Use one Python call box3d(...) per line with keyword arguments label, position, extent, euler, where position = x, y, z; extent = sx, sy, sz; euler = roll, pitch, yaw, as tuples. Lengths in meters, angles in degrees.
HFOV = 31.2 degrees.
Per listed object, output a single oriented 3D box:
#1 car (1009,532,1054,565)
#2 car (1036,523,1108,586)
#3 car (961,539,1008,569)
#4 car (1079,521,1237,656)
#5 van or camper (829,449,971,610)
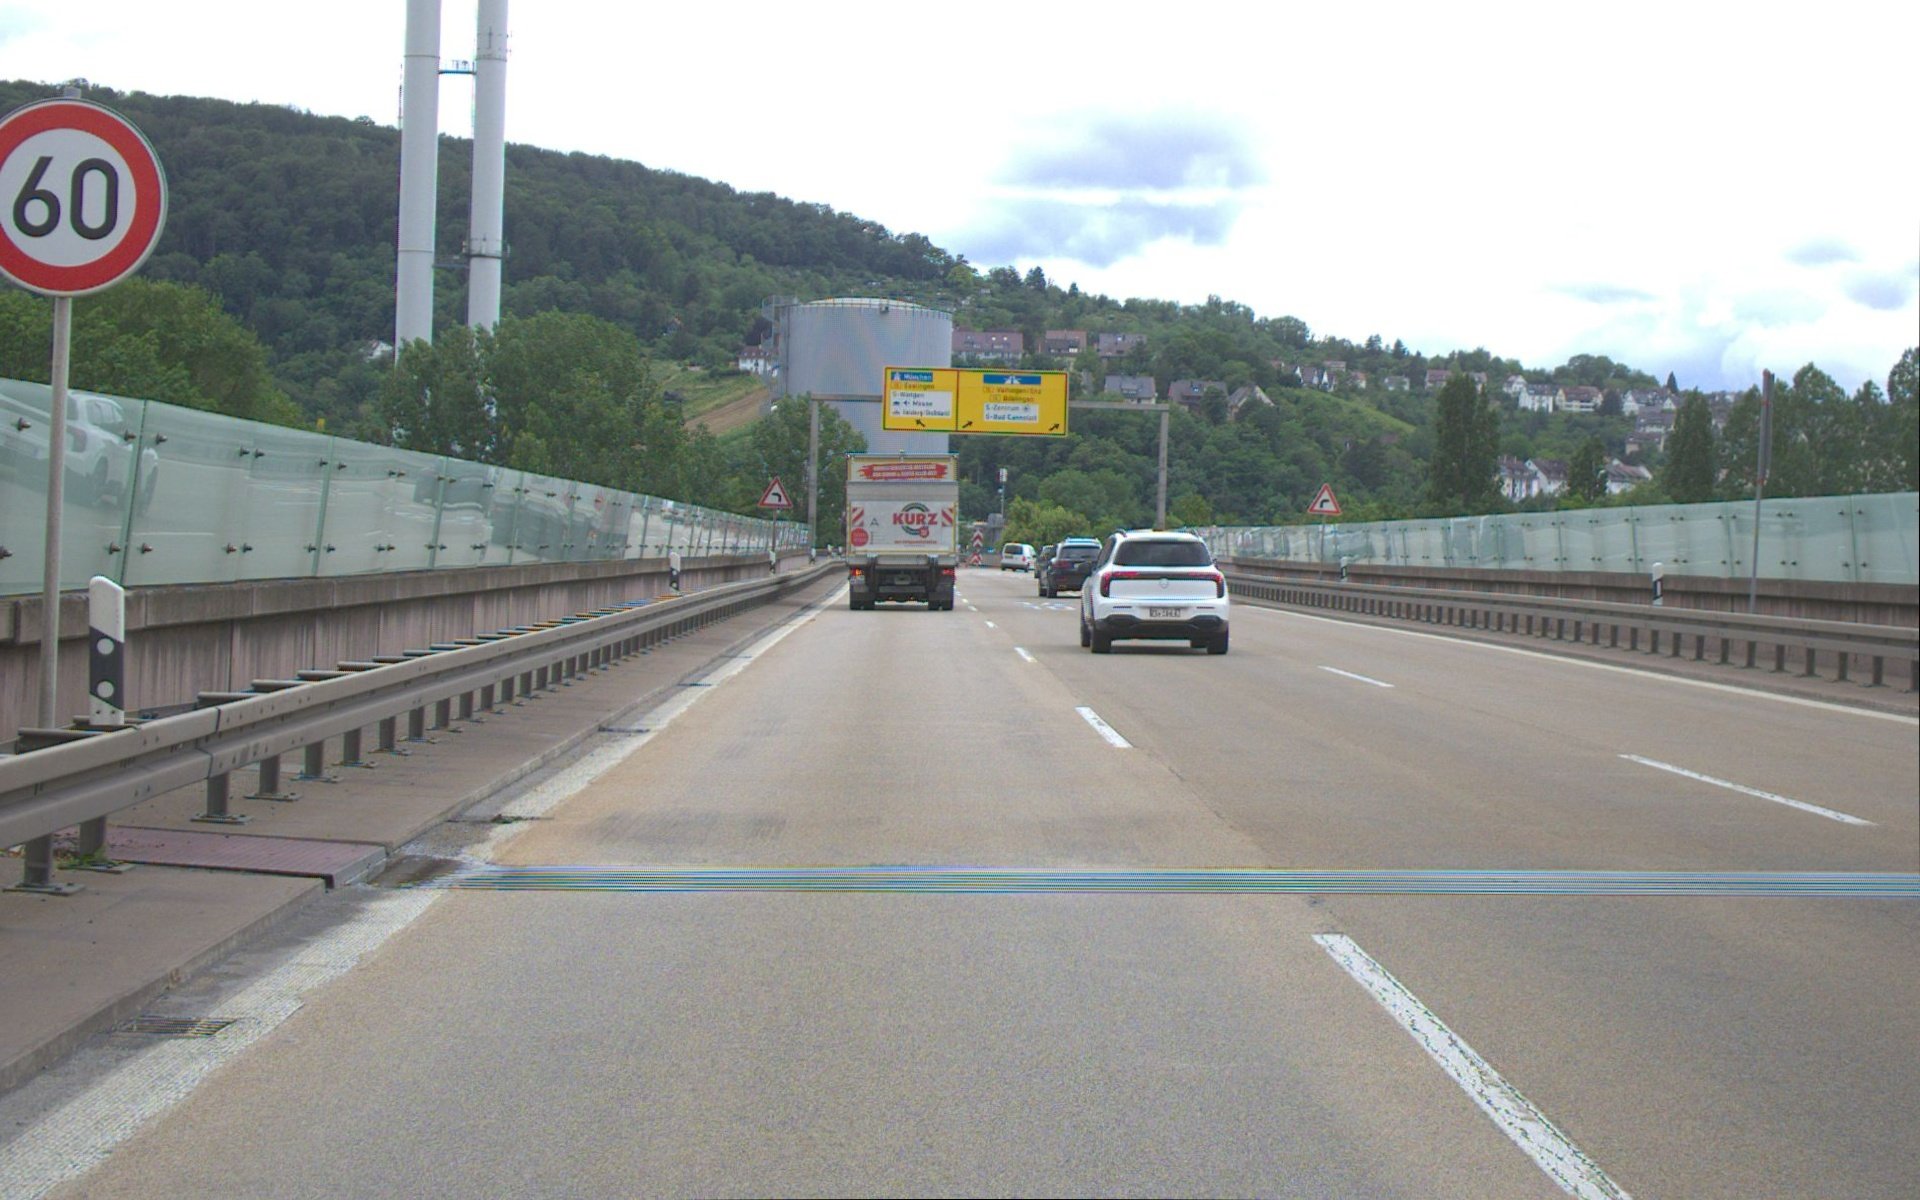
box3d(label="car", position=(3.171, -2.294, 151.926), extent=(1.924, 1.429, 4.113), euler=(1, 1, 2))
box3d(label="car", position=(3.266, -1.353, 100.580), extent=(1.924, 1.779, 4.113), euler=(1, 1, 0))
box3d(label="car", position=(1.683, -3.129, 231.006), extent=(2.474, 1.973, 5.158), euler=(1, 1, 8))
box3d(label="car", position=(2.707, -0.198, 47.924), extent=(1.924, 1.779, 4.113), euler=(1, 1, 0))
box3d(label="van or camper", position=(-1.326, -1.623, 80.908), extent=(3.122, 3.567, 8.550), euler=(1, 1, 0))
